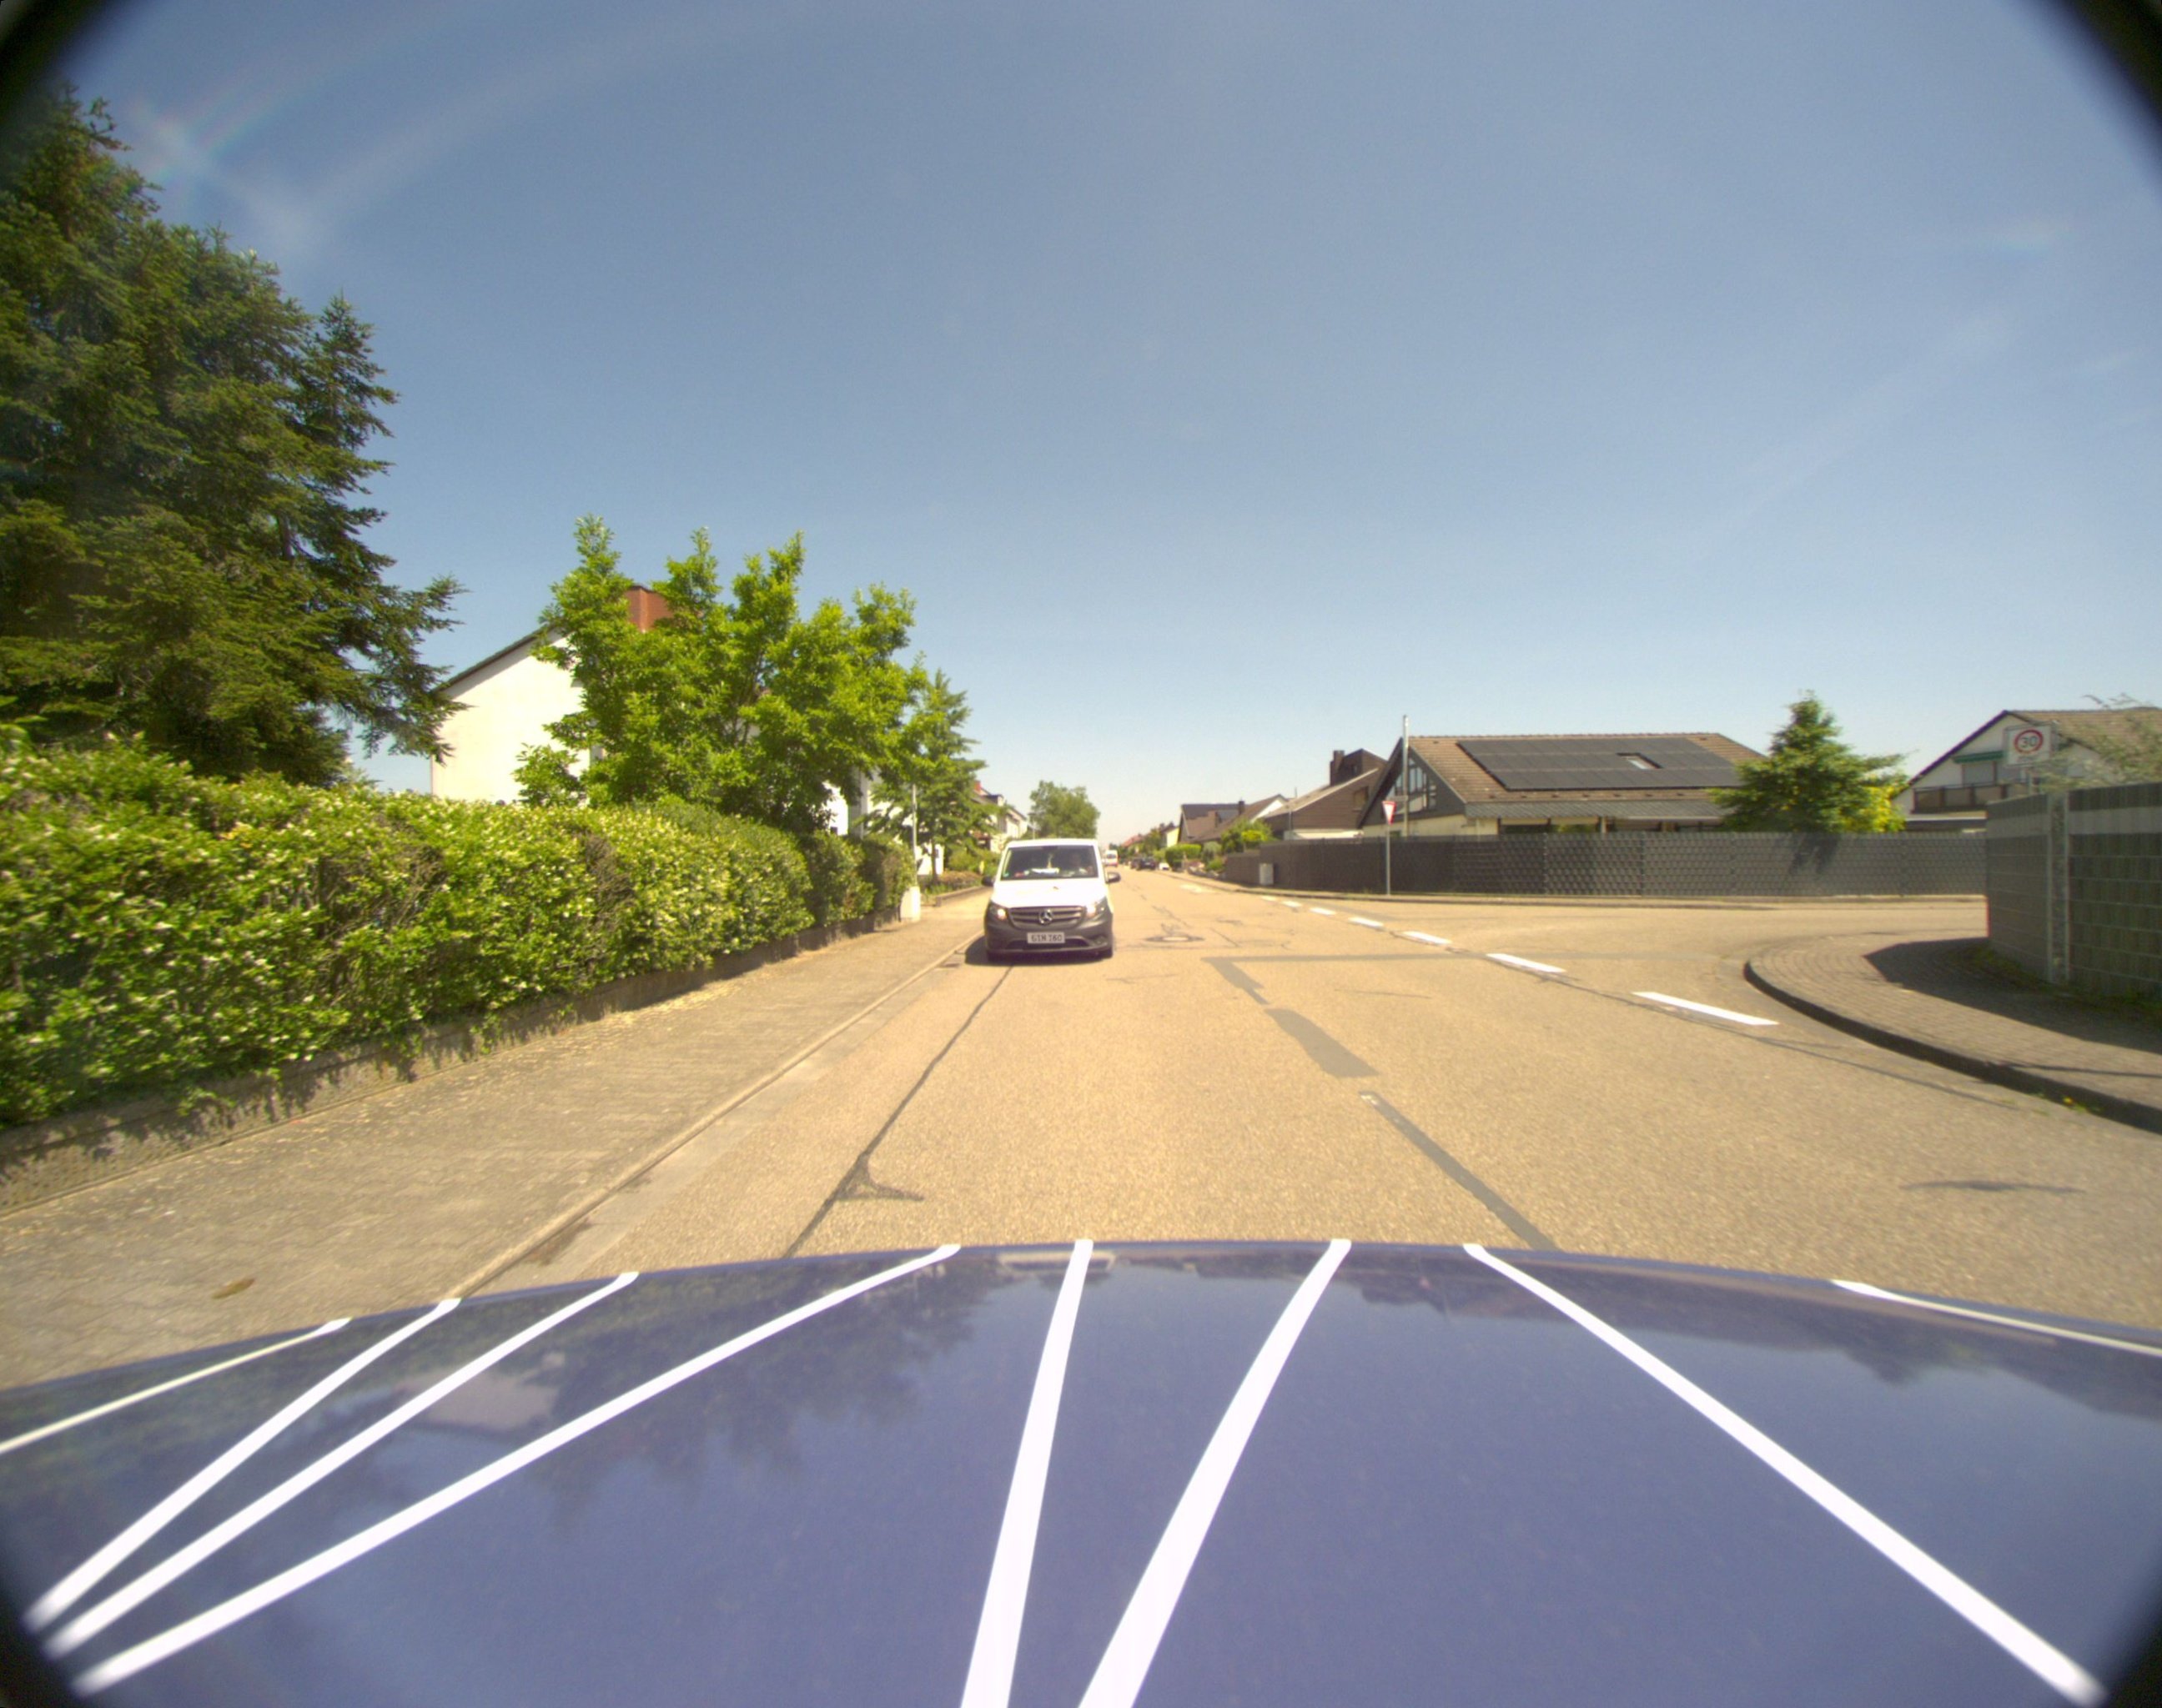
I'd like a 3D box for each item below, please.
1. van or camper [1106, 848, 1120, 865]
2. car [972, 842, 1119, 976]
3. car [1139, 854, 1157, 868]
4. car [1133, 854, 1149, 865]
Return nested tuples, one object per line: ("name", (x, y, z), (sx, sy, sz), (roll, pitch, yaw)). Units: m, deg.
("van or camper", (4.898, 0.389, 117.345), (2.069, 2.577, 4.603), (0, 0, 0))
("car", (-0.461, 0.741, 13.063), (2.018, 1.846, 5.067), (0, 1, 1))
("car", (7.055, 0.690, 80.398), (1.807, 1.390, 4.001), (-1, 0, 4))
("car", (7.651, 0.712, 96.824), (1.998, 1.390, 4.001), (-1, 1, 4))
